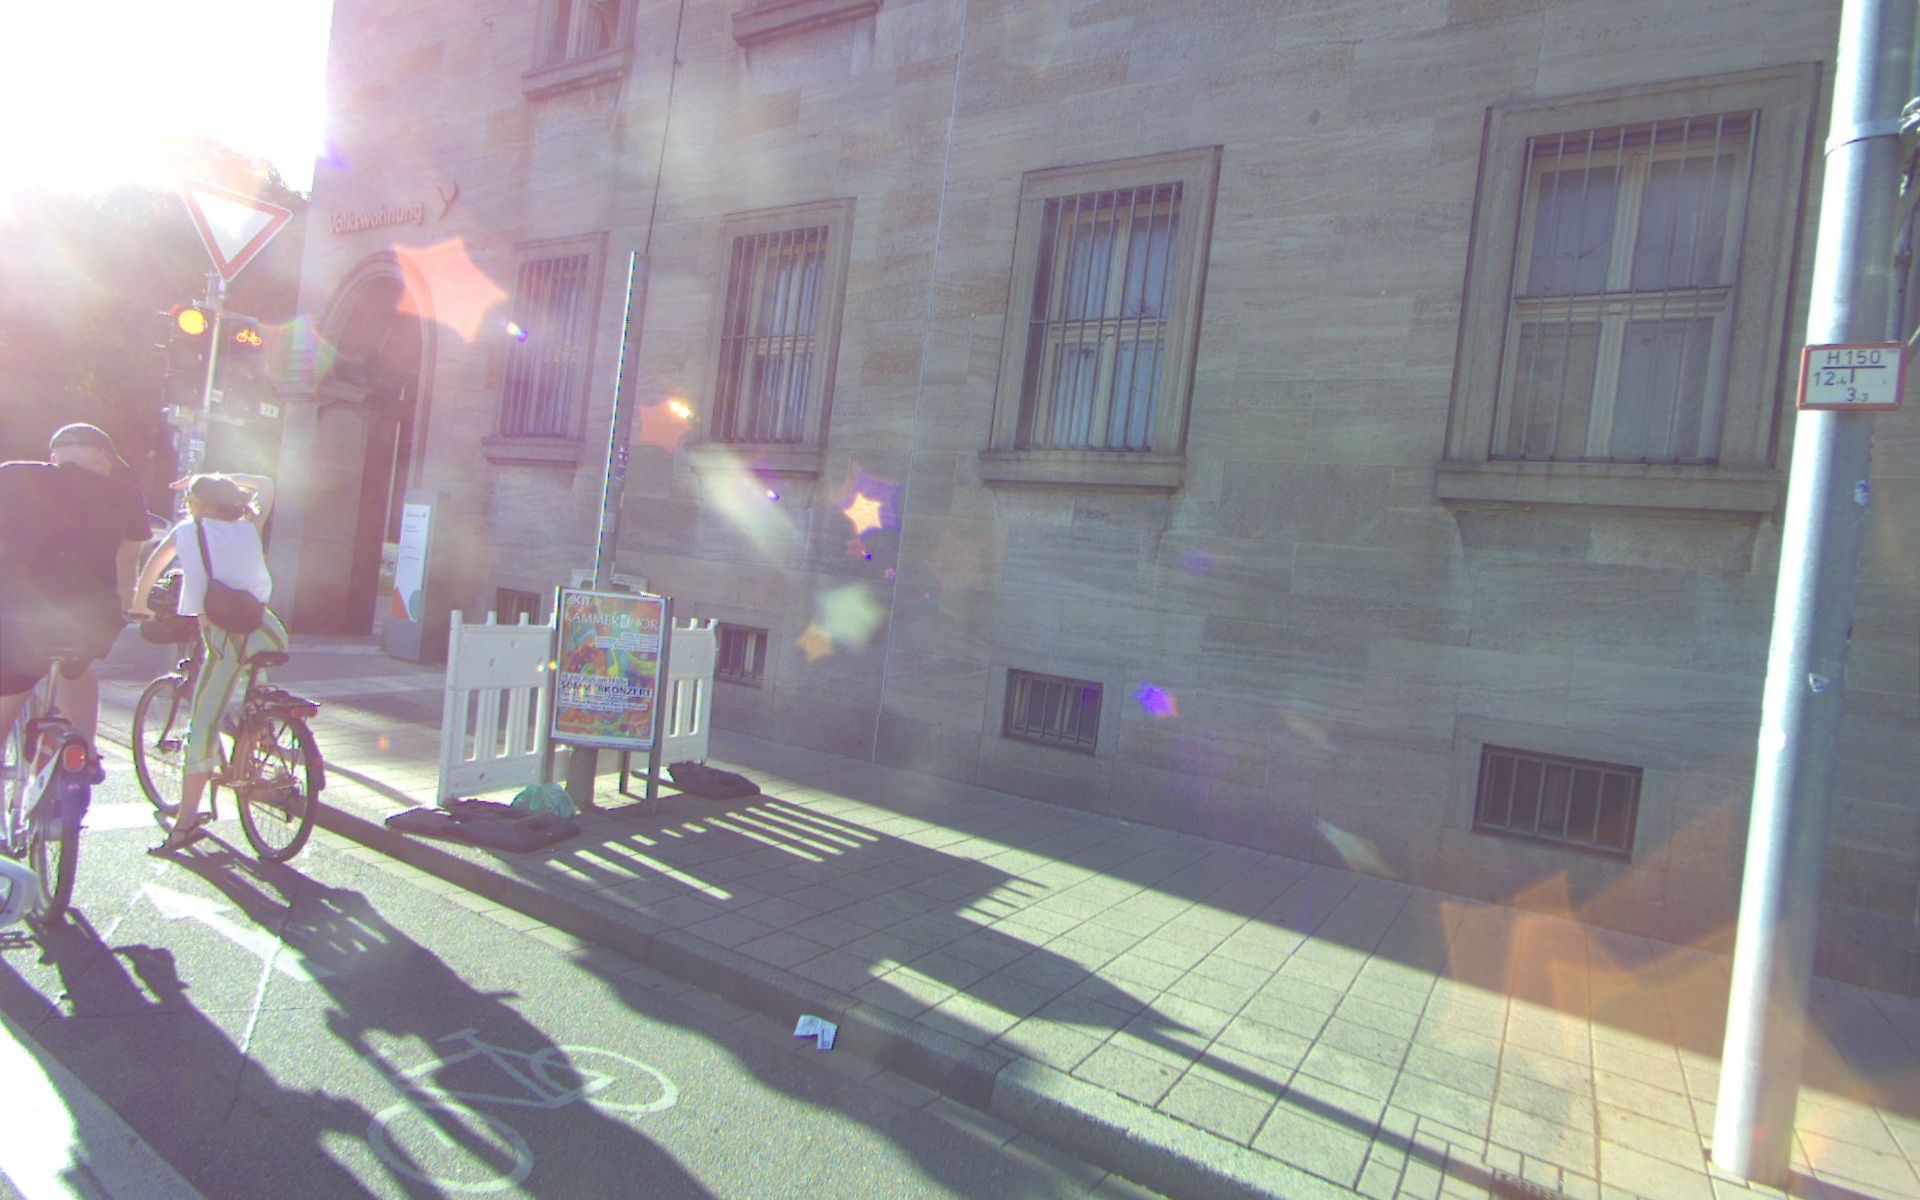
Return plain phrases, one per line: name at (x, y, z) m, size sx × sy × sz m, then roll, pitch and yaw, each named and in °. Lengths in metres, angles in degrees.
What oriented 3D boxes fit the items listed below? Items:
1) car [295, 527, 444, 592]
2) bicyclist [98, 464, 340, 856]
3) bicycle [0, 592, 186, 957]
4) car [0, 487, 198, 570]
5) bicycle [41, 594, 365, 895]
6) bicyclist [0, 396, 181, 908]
car at (-19.613, -1.311, 33.574) m, size 1.623 × 1.630 × 3.854 m, roll 7°, pitch -1°, yaw 31°
bicyclist at (-3.532, 0.266, 4.807) m, size 0.629 × 1.711 × 0.558 m, roll 7°, pitch -1°, yaw 30°
bicycle at (-3.735, 0.574, 3.927) m, size 1.700 × 1.090 × 0.516 m, roll 7°, pitch -1°, yaw 34°
car at (-23.369, -1.894, 27.199) m, size 1.622 × 1.630 × 3.999 m, roll 7°, pitch -1°, yaw 31°
bicycle at (-3.679, 0.621, 4.845) m, size 1.721 × 1.090 × 0.535 m, roll 7°, pitch -1°, yaw 31°
bicyclist at (-3.546, 0.193, 3.857) m, size 0.541 × 1.820 × 0.559 m, roll 7°, pitch -1°, yaw 33°
